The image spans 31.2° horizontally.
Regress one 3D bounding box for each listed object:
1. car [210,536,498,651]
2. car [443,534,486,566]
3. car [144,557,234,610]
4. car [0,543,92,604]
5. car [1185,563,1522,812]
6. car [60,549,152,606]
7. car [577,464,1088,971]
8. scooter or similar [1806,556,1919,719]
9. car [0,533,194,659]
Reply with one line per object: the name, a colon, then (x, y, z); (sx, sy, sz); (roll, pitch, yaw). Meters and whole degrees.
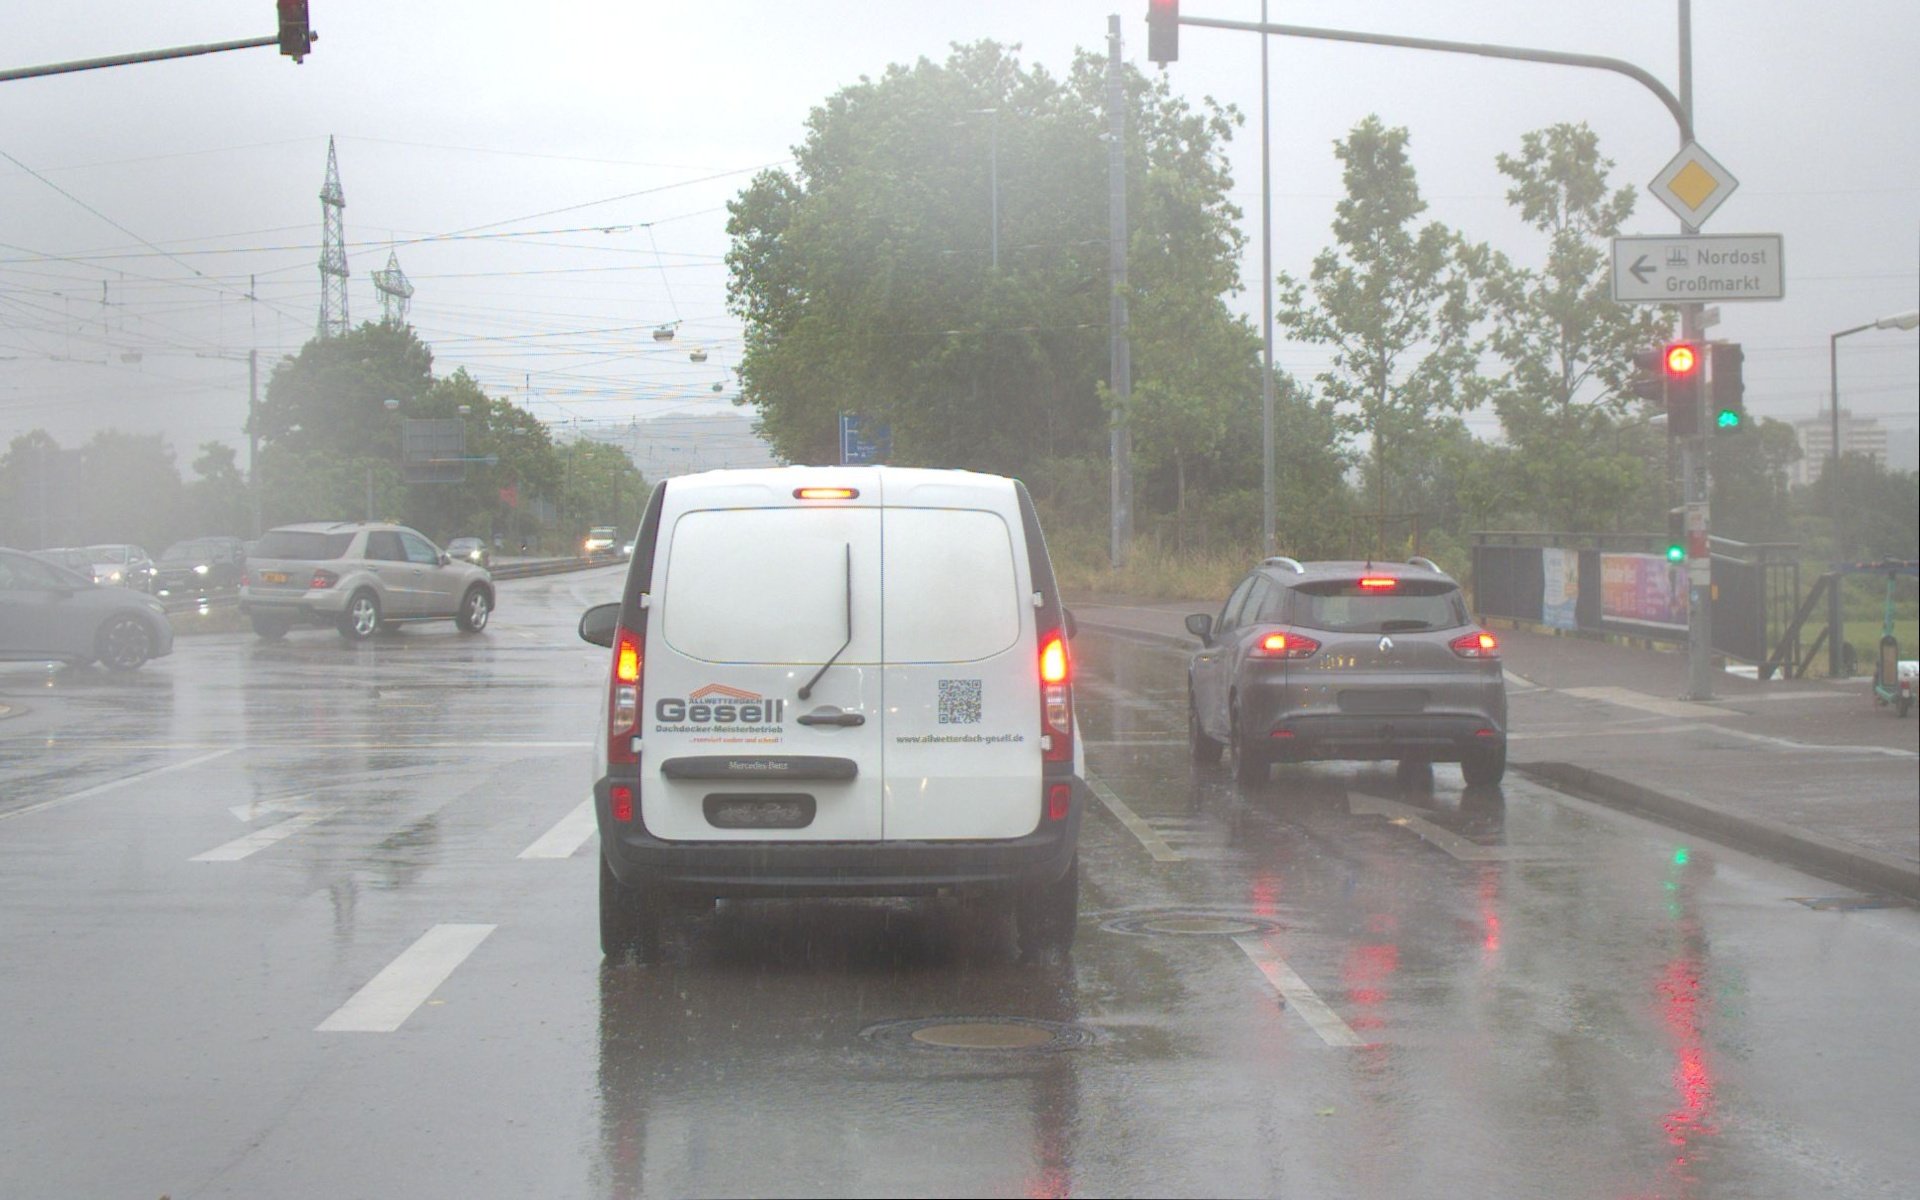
car: (-9.303, -0.075, 53.128); (1.951, 1.656, 4.456); (1, -1, 30)
car: (-23.702, -2.381, 164.437); (1.559, 1.421, 3.569); (2, 0, -1)
car: (-22.097, -0.462, 98.618); (1.710, 1.421, 3.809); (2, 0, -1)
car: (-22.643, -0.641, 84.815); (1.559, 1.421, 3.569); (2, 0, -1)
car: (2.536, 0.517, 22.987); (1.684, 1.503, 3.921); (1, 1, -1)
car: (-22.663, -0.587, 91.303); (1.559, 1.421, 3.569); (2, 0, -1)
car: (-0.584, 0.356, 13.941); (1.754, 1.744, 4.170); (0, 1, -4)
scooter or similar: (7.410, 0.263, 27.252); (0.690, 1.207, 3.020); (-1, 1, 1)
car: (-11.546, -0.062, 41.355); (4.185, 1.446, 1.717); (2, -1, -33)
